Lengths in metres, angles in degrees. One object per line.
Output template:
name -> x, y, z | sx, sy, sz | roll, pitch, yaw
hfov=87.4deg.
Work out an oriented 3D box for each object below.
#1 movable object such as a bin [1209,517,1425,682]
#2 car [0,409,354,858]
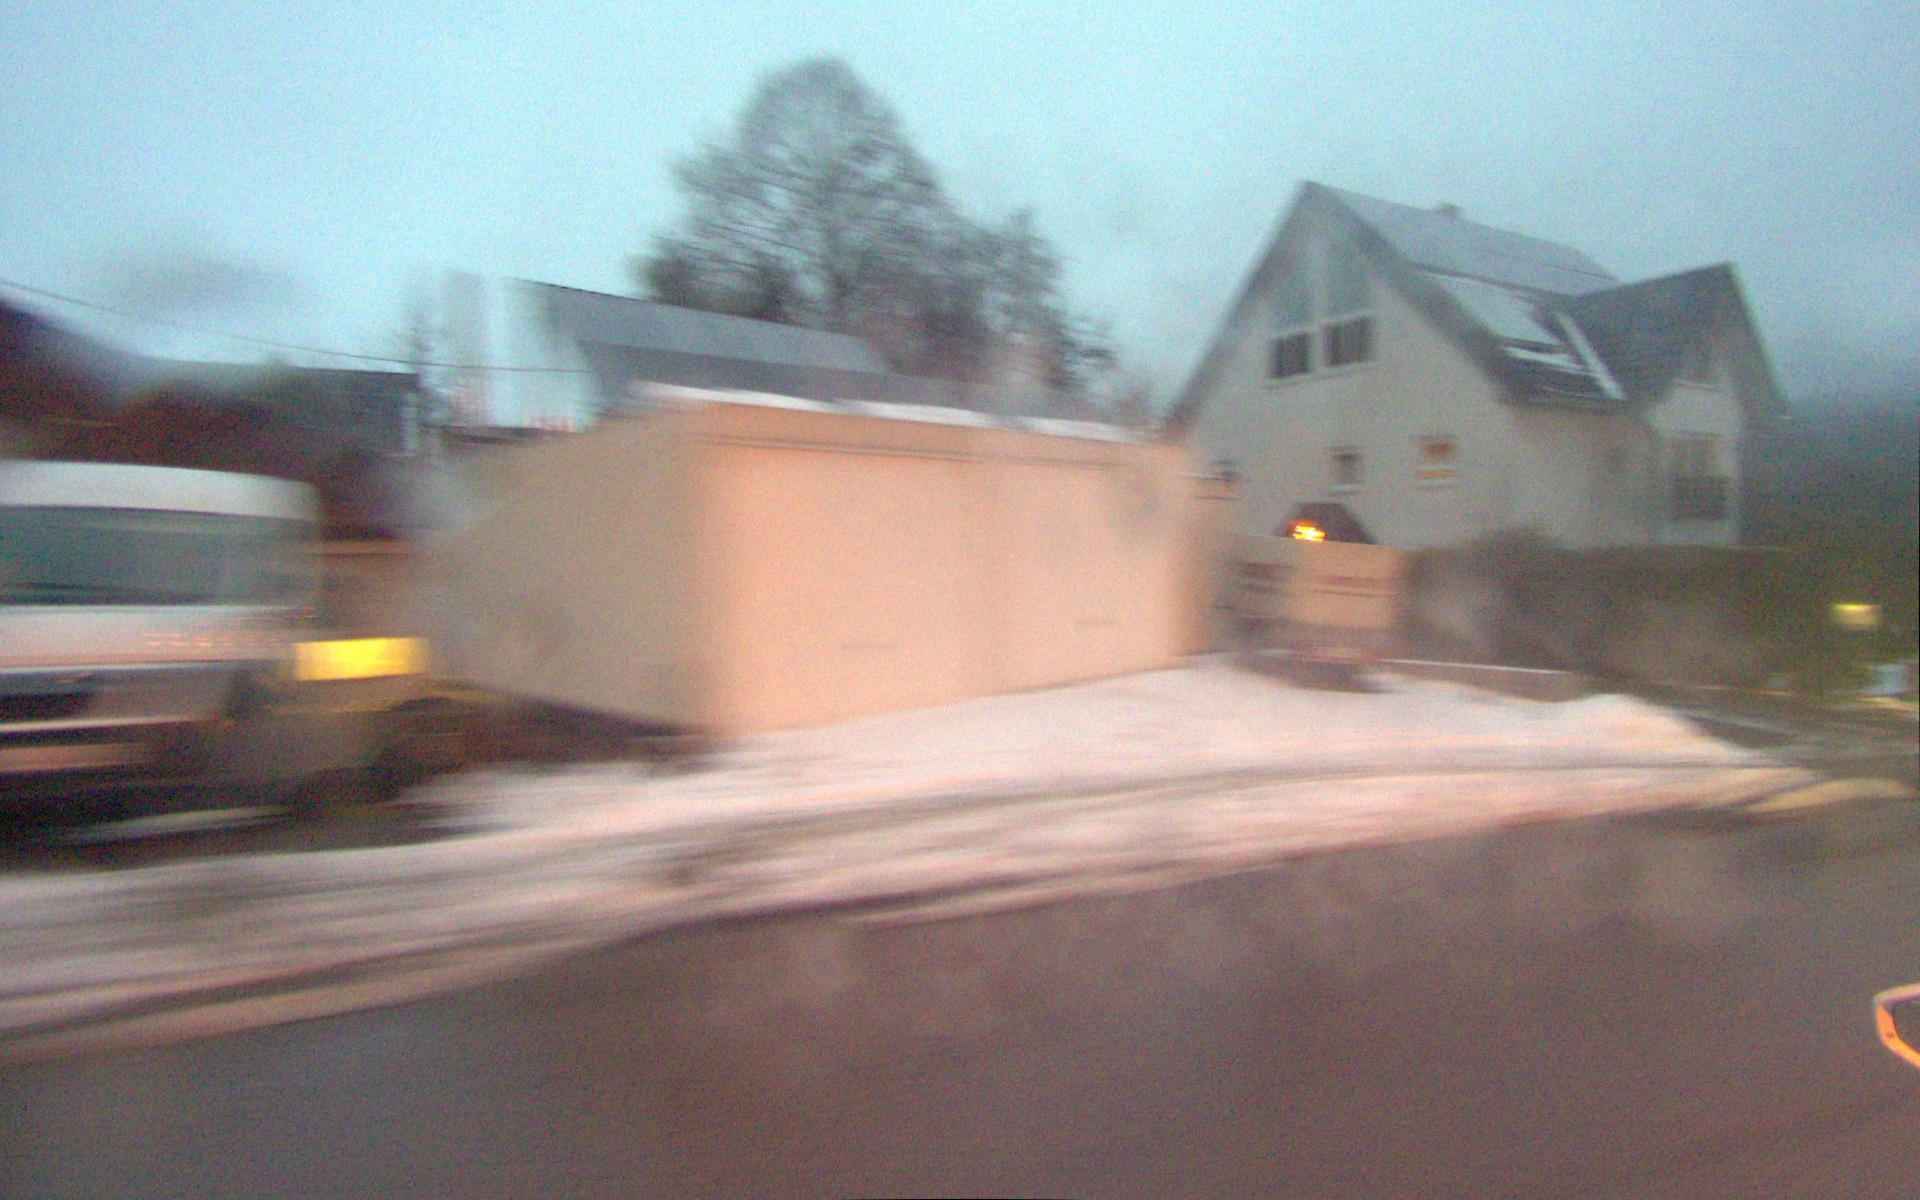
movable object such as a bin -> 4.052, -0.089, 11.752 | 1.414, 1.671, 2.368 | 2, 5, -6
car -> -5.576, 0.071, 6.886 | 2.189, 2.040, 5.235 | 3, 0, -30
